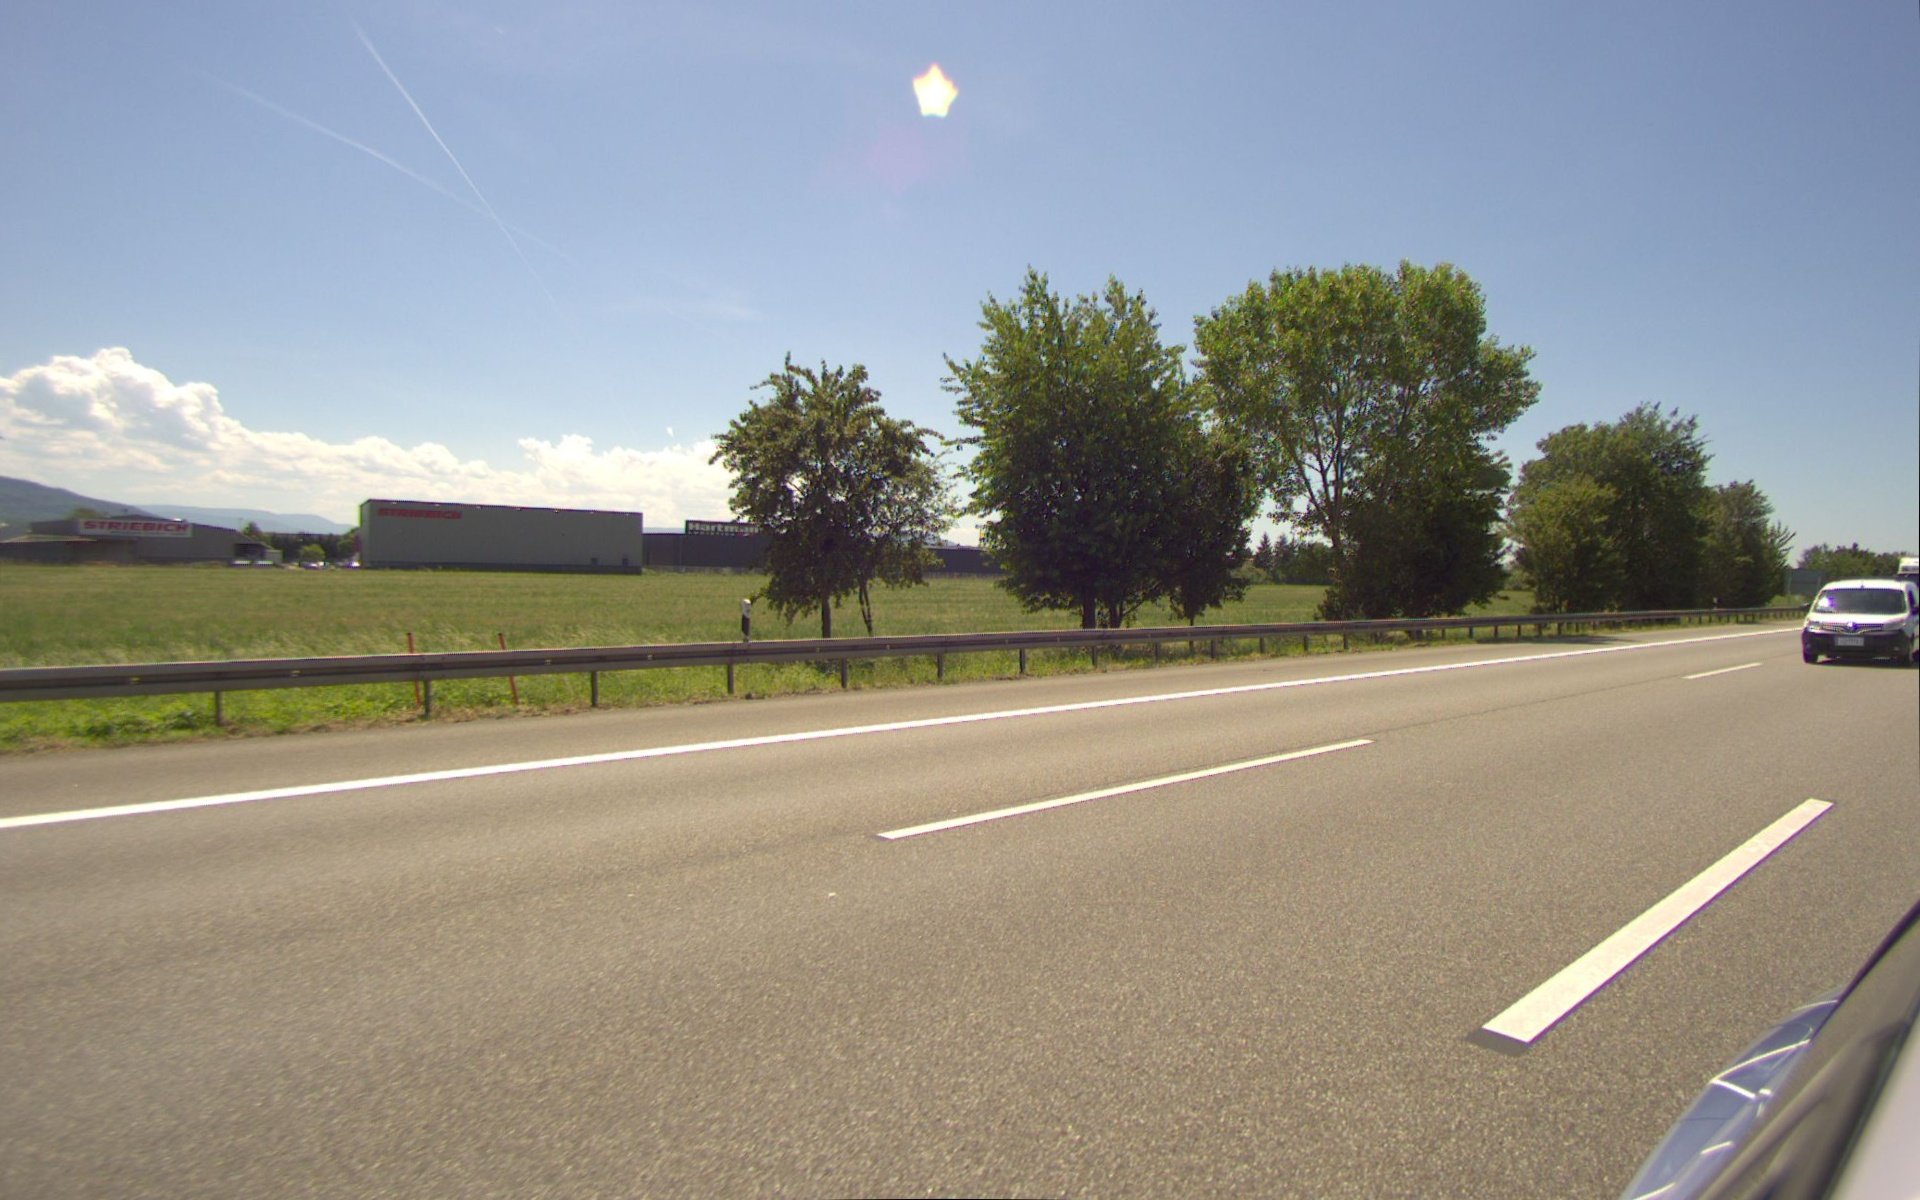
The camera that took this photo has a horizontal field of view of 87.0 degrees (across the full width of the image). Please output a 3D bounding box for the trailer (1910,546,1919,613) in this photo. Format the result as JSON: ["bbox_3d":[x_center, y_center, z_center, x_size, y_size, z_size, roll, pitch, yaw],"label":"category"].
[{"bbox_3d":[68.517,-1.390,69.862,14.005,4.359,2.814,0,0,-41],"label":"trailer"}]

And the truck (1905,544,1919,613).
[{"bbox_3d":[63.916,-1.366,65.866,7.067,4.359,2.814,0,0,-41],"label":"truck"}]

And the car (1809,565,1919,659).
[{"bbox_3d":[20.323,0.229,22.334,4.622,1.886,1.855,0,0,-43],"label":"car"}]
